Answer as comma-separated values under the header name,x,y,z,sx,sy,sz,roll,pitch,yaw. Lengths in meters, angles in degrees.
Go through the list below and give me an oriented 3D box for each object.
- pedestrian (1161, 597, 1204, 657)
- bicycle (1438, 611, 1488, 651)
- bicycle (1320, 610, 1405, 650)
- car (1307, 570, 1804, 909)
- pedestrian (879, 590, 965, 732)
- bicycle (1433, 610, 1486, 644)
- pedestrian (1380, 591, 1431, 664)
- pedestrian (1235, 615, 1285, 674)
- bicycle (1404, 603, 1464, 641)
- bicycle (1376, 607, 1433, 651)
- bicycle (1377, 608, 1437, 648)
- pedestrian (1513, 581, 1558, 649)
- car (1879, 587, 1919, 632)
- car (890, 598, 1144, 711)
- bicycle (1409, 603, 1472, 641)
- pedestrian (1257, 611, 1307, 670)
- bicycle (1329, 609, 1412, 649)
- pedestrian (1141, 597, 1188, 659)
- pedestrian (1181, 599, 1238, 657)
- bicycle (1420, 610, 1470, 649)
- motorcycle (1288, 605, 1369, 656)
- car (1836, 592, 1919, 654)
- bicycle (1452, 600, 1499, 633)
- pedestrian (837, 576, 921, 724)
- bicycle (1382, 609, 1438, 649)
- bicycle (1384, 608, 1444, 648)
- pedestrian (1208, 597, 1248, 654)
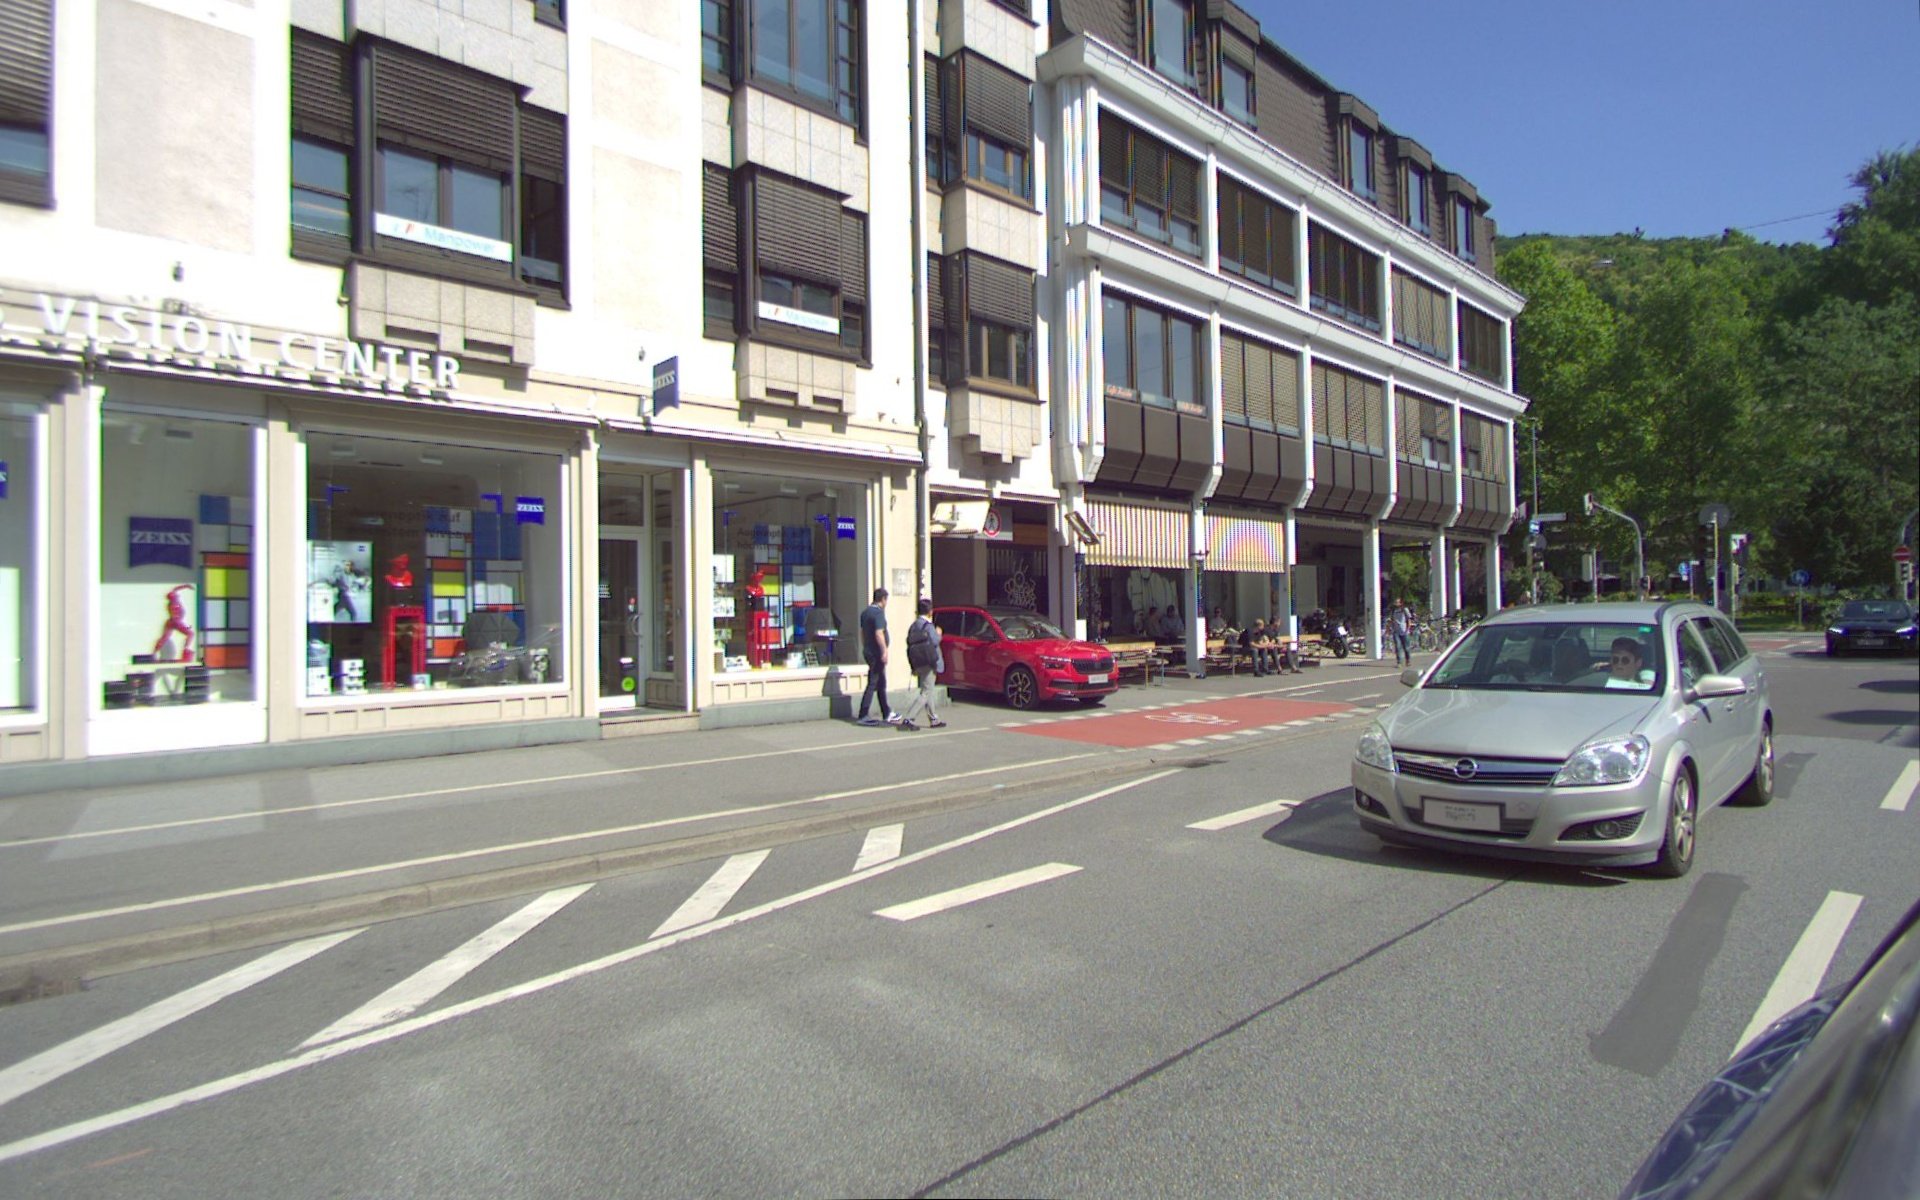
name,x,y,z,sx,sy,sz,roll,pitch,yaw
pedestrian,5.388,0.649,24.472,0.685,1.414,0.712,-2,0,-43
bicycle,14.893,0.899,29.957,2.200,1.135,0.277,0,-1,-35
bicycle,11.458,0.866,28.882,2.228,1.111,0.274,-2,-2,35
car,4.176,0.647,6.741,4.333,1.542,1.708,0,-2,-44
pedestrian,-0.484,0.742,12.734,0.819,1.707,0.697,0,-1,-34
bicycle,15.949,0.858,32.328,1.445,1.079,0.377,0,0,5
pedestrian,10.566,0.636,24.020,0.683,1.684,0.835,-2,0,-34
pedestrian,6.352,0.921,21.411,0.683,1.187,0.713,-2,0,-34
bicycle,17.010,0.777,36.346,1.828,1.333,0.529,0,-1,10
bicycle,12.827,0.835,29.244,0.272,1.222,1.550,0,-2,-35
bicycle,13.268,0.815,30.074,0.272,1.134,1.722,0,0,-35
pedestrian,16.112,0.409,28.353,0.683,1.859,0.835,-2,0,-34
car,32.656,0.278,34.232,4.270,1.447,1.938,-1,0,-43
car,0.809,0.790,16.461,1.810,1.513,4.051,-3,1,-40
bicycle,16.990,0.785,35.817,1.935,1.333,0.529,0,-1,10
pedestrian,6.987,0.872,21.964,0.683,1.232,0.713,-2,0,-34
bicycle,11.880,0.840,29.323,2.233,1.135,0.273,-2,-2,41
pedestrian,4.827,0.646,23.856,0.685,1.414,0.813,-1,-1,-44
pedestrian,6.220,0.690,25.233,1.087,1.368,0.896,-2,0,-43
bicycle,14.465,0.864,30.158,2.200,1.135,0.277,0,-1,-35
motorcycle,10.043,0.807,27.671,0.929,1.307,2.247,-2,0,-14
car,23.935,0.539,26.012,1.844,1.447,4.144,-2,0,45
bicycle,16.804,0.537,32.981,1.441,1.079,0.309,0,0,-7
pedestrian,-1.077,0.635,13.442,0.819,1.874,0.697,-2,0,-34
bicycle,13.096,0.829,29.486,0.272,1.134,1.575,0,0,-35
bicycle,13.580,0.825,30.307,0.272,1.134,1.722,0,0,-35
pedestrian,6.856,0.647,25.869,0.685,1.414,0.712,-2,0,-43
